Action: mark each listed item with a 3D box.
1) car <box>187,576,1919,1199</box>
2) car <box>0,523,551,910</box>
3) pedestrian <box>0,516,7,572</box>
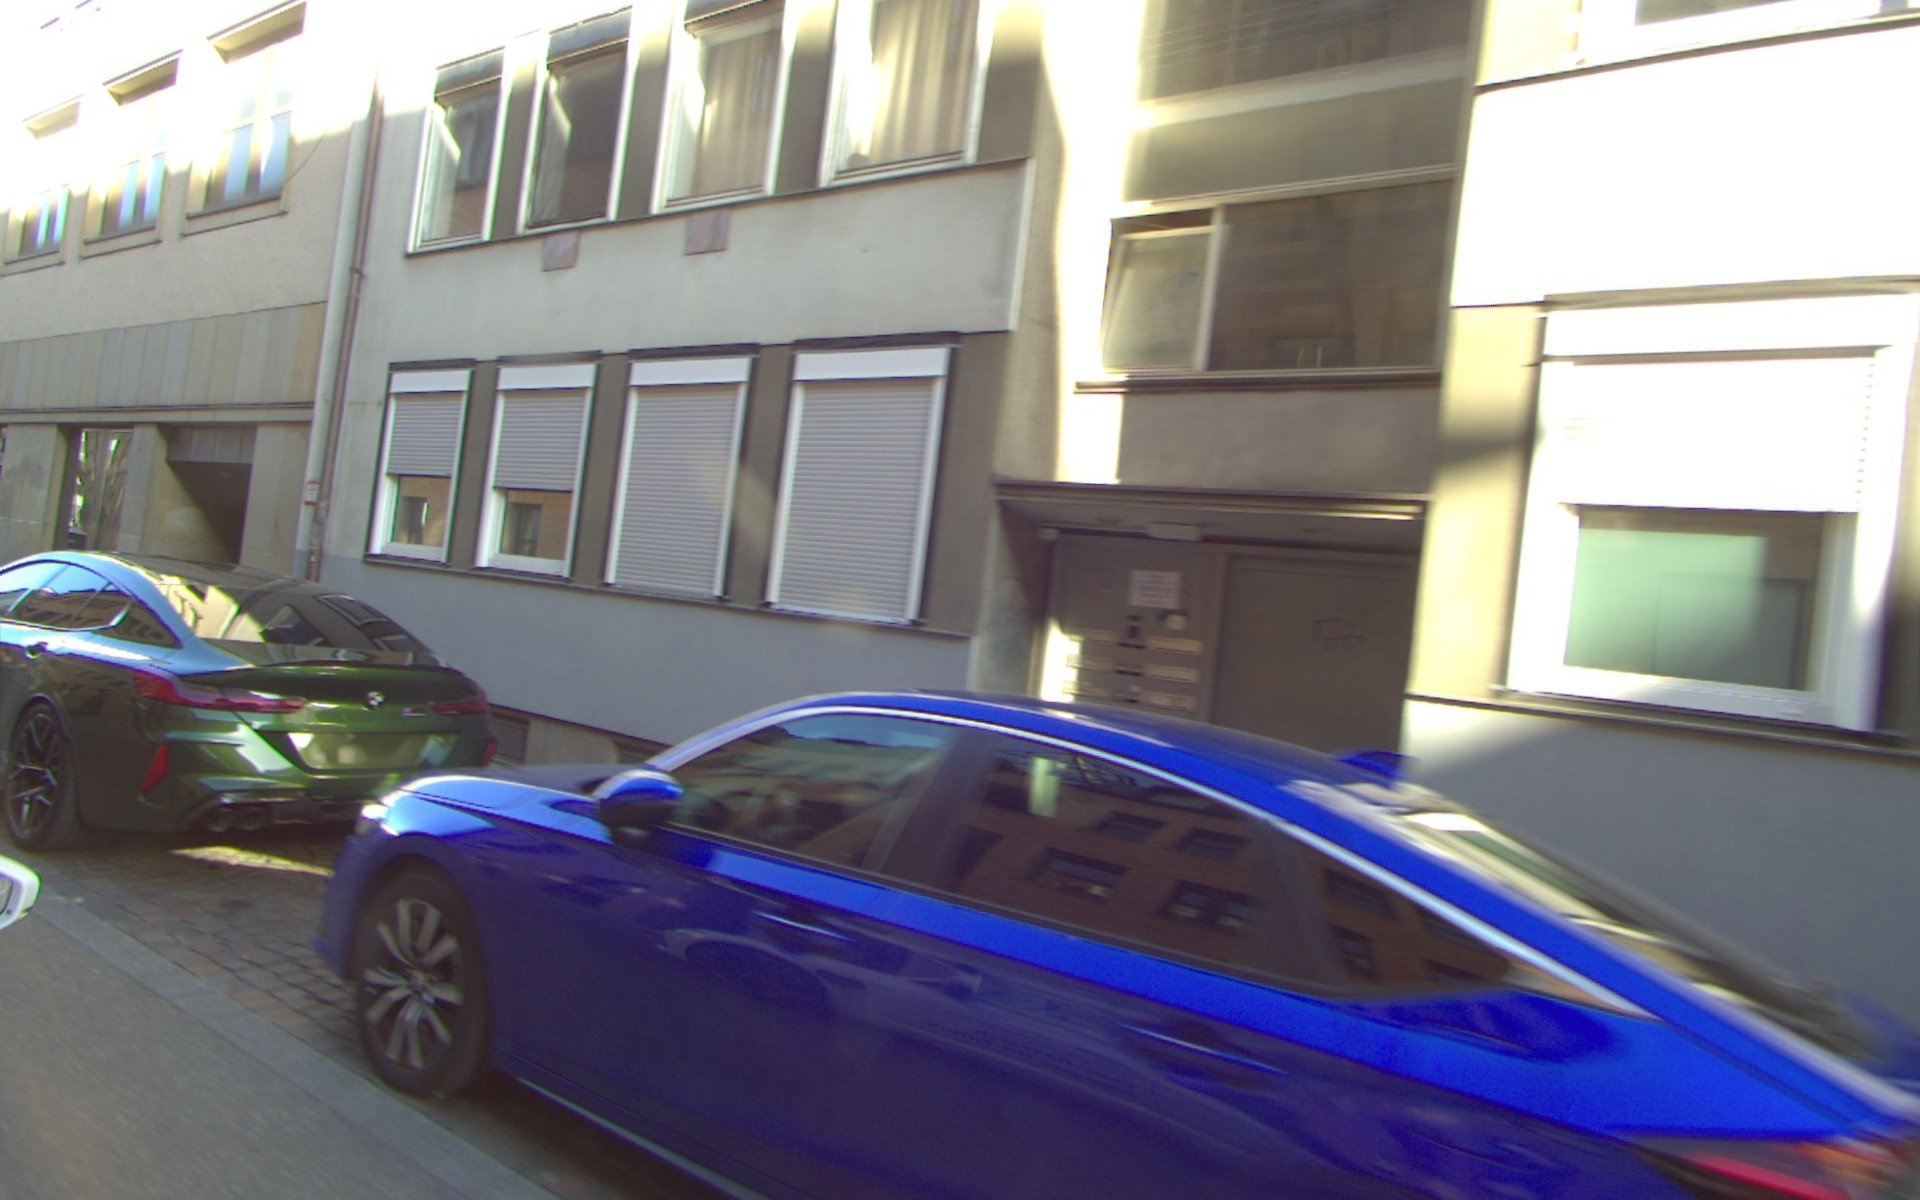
[{"bbox_3d":[-0.053,0.958,3.014,4.709,1.427,1.813,6,-5,30],"label":"car"},{"bbox_3d":[-5.059,0.405,6.156,5.138,1.468,1.900,6,-4,31],"label":"car"},{"bbox_3d":[-14.156,-0.414,14.464,0.531,1.674,0.480,6,-1,43],"label":"pedestrian"}]
